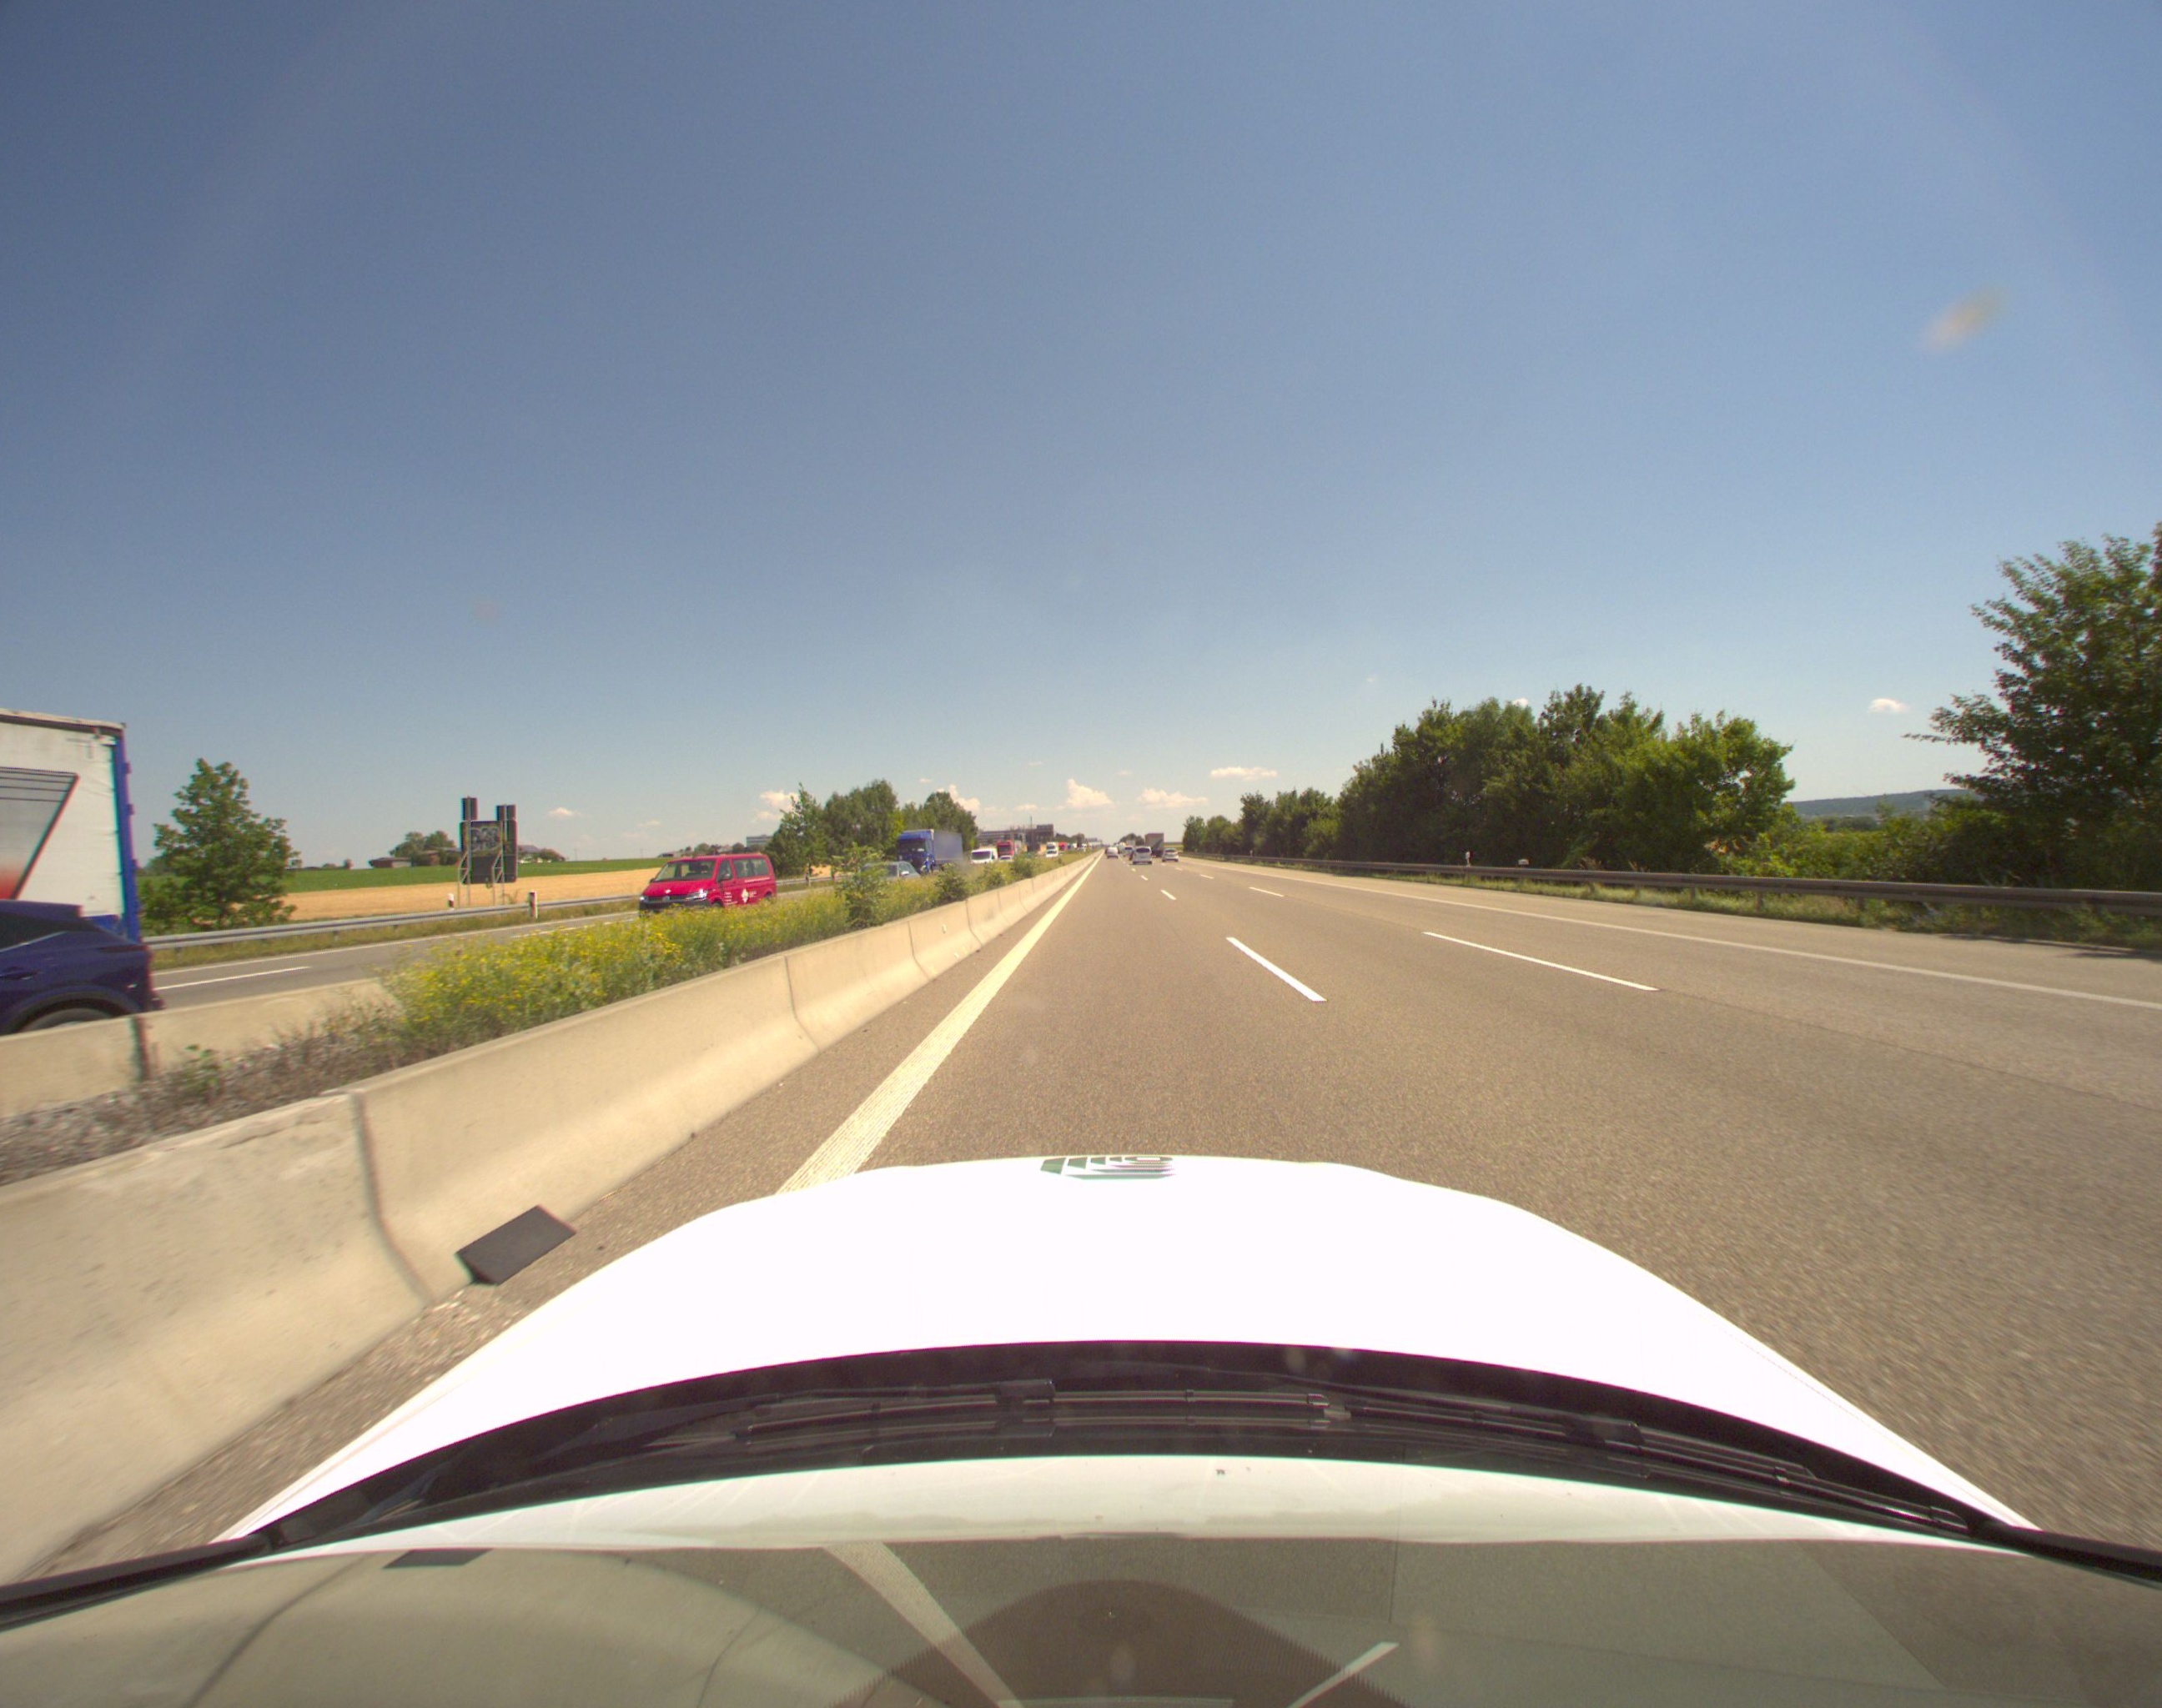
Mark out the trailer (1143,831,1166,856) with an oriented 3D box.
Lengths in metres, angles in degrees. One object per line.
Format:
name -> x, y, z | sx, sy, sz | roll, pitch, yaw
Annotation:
trailer -> 12.431, -1.734, 137.945 | 3.265, 3.967, 9.116 | -1, -1, 2

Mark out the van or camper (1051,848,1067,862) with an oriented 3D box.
van or camper -> -3.161, 0.162, 117.121 | 1.986, 1.933, 5.203 | -2, 0, 1

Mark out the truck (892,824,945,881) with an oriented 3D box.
truck -> -13.244, -0.132, 66.683 | 2.854, 4.350, 5.589 | -3, 0, 2

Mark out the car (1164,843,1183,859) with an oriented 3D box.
car -> 11.300, -0.340, 99.618 | 1.986, 1.794, 4.001 | -1, -1, 2

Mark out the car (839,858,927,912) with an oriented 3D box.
car -> -6.478, 0.956, 27.161 | 1.678, 1.566, 4.563 | -3, 0, 1

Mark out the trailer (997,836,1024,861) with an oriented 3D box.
trailer -> -11.580, -0.929, 135.580 | 2.845, 3.855, 12.190 | -3, 0, 2

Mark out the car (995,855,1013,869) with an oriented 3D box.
car -> -9.001, 0.928, 95.047 | 1.611, 1.464, 3.865 | -2, 0, 1

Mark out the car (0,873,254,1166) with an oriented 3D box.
car -> -8.256, 1.175, 4.855 | 1.807, 1.946, 4.616 | -2, 0, 1

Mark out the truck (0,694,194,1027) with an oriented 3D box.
truck -> -15.134, 0.160, 5.343 | 2.583, 4.238, 14.128 | -4, 0, 2

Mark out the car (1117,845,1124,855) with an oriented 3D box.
car -> 9.854, -1.110, 204.439 | 1.766, 2.392, 4.001 | -1, -1, 2

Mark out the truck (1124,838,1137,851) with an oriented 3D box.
truck -> 15.849, -3.105, 261.639 | 3.802, 3.904, 9.583 | -2, 0, 2

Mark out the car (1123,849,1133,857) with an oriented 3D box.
car -> 8.720, -0.149, 152.299 | 1.766, 1.447, 4.001 | -1, -1, 2

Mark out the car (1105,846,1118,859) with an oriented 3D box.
car -> 4.970, -0.220, 132.641 | 1.986, 2.014, 4.001 | -1, -1, 2

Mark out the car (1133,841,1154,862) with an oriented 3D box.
car -> 6.573, -0.242, 85.997 | 1.986, 2.120, 4.001 | -1, -1, 2

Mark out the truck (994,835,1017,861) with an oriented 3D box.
truck -> -11.813, -0.872, 127.481 | 2.845, 3.855, 4.001 | -3, 0, 1

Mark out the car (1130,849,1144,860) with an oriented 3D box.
car -> 7.731, 0.131, 113.337 | 1.766, 1.447, 4.001 | -1, -1, 2

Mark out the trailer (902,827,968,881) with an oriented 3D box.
trailer -> -12.962, -0.006, 74.064 | 2.872, 4.350, 13.649 | -3, 0, 2

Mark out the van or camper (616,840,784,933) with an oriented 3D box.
van or camper -> -10.655, 0.815, 23.379 | 2.086, 2.274, 5.495 | -2, 0, 1

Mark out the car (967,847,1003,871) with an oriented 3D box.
car -> -8.721, 0.462, 74.810 | 2.175, 2.013, 5.769 | -3, 0, 4
